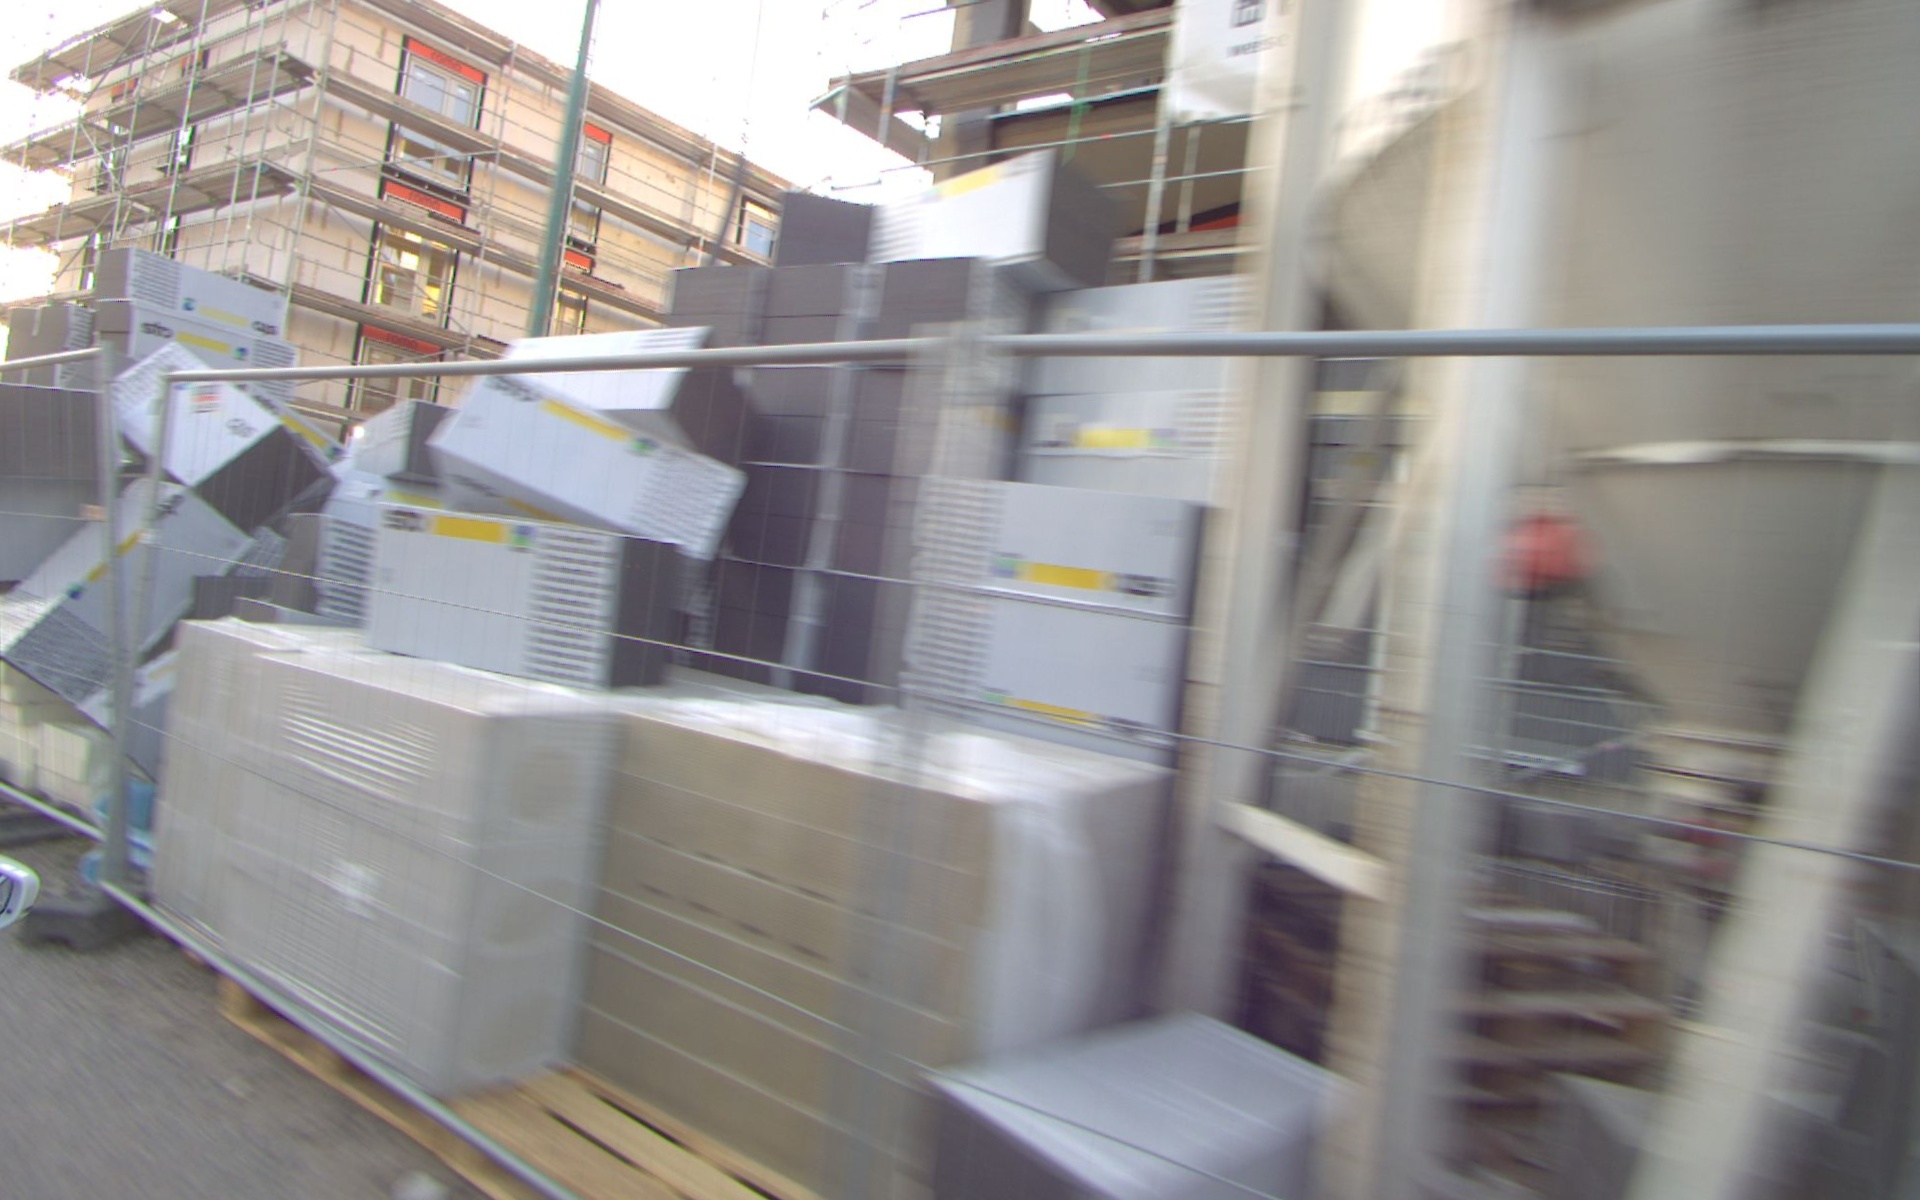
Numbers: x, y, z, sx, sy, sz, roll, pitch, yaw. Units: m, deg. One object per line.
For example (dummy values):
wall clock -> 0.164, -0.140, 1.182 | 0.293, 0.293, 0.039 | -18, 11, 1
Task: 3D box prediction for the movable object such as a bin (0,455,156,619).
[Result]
movable object such as a bin -> -17.425, -1.297, 18.073 | 8.233, 2.300, 2.068 | 6, -2, 34
